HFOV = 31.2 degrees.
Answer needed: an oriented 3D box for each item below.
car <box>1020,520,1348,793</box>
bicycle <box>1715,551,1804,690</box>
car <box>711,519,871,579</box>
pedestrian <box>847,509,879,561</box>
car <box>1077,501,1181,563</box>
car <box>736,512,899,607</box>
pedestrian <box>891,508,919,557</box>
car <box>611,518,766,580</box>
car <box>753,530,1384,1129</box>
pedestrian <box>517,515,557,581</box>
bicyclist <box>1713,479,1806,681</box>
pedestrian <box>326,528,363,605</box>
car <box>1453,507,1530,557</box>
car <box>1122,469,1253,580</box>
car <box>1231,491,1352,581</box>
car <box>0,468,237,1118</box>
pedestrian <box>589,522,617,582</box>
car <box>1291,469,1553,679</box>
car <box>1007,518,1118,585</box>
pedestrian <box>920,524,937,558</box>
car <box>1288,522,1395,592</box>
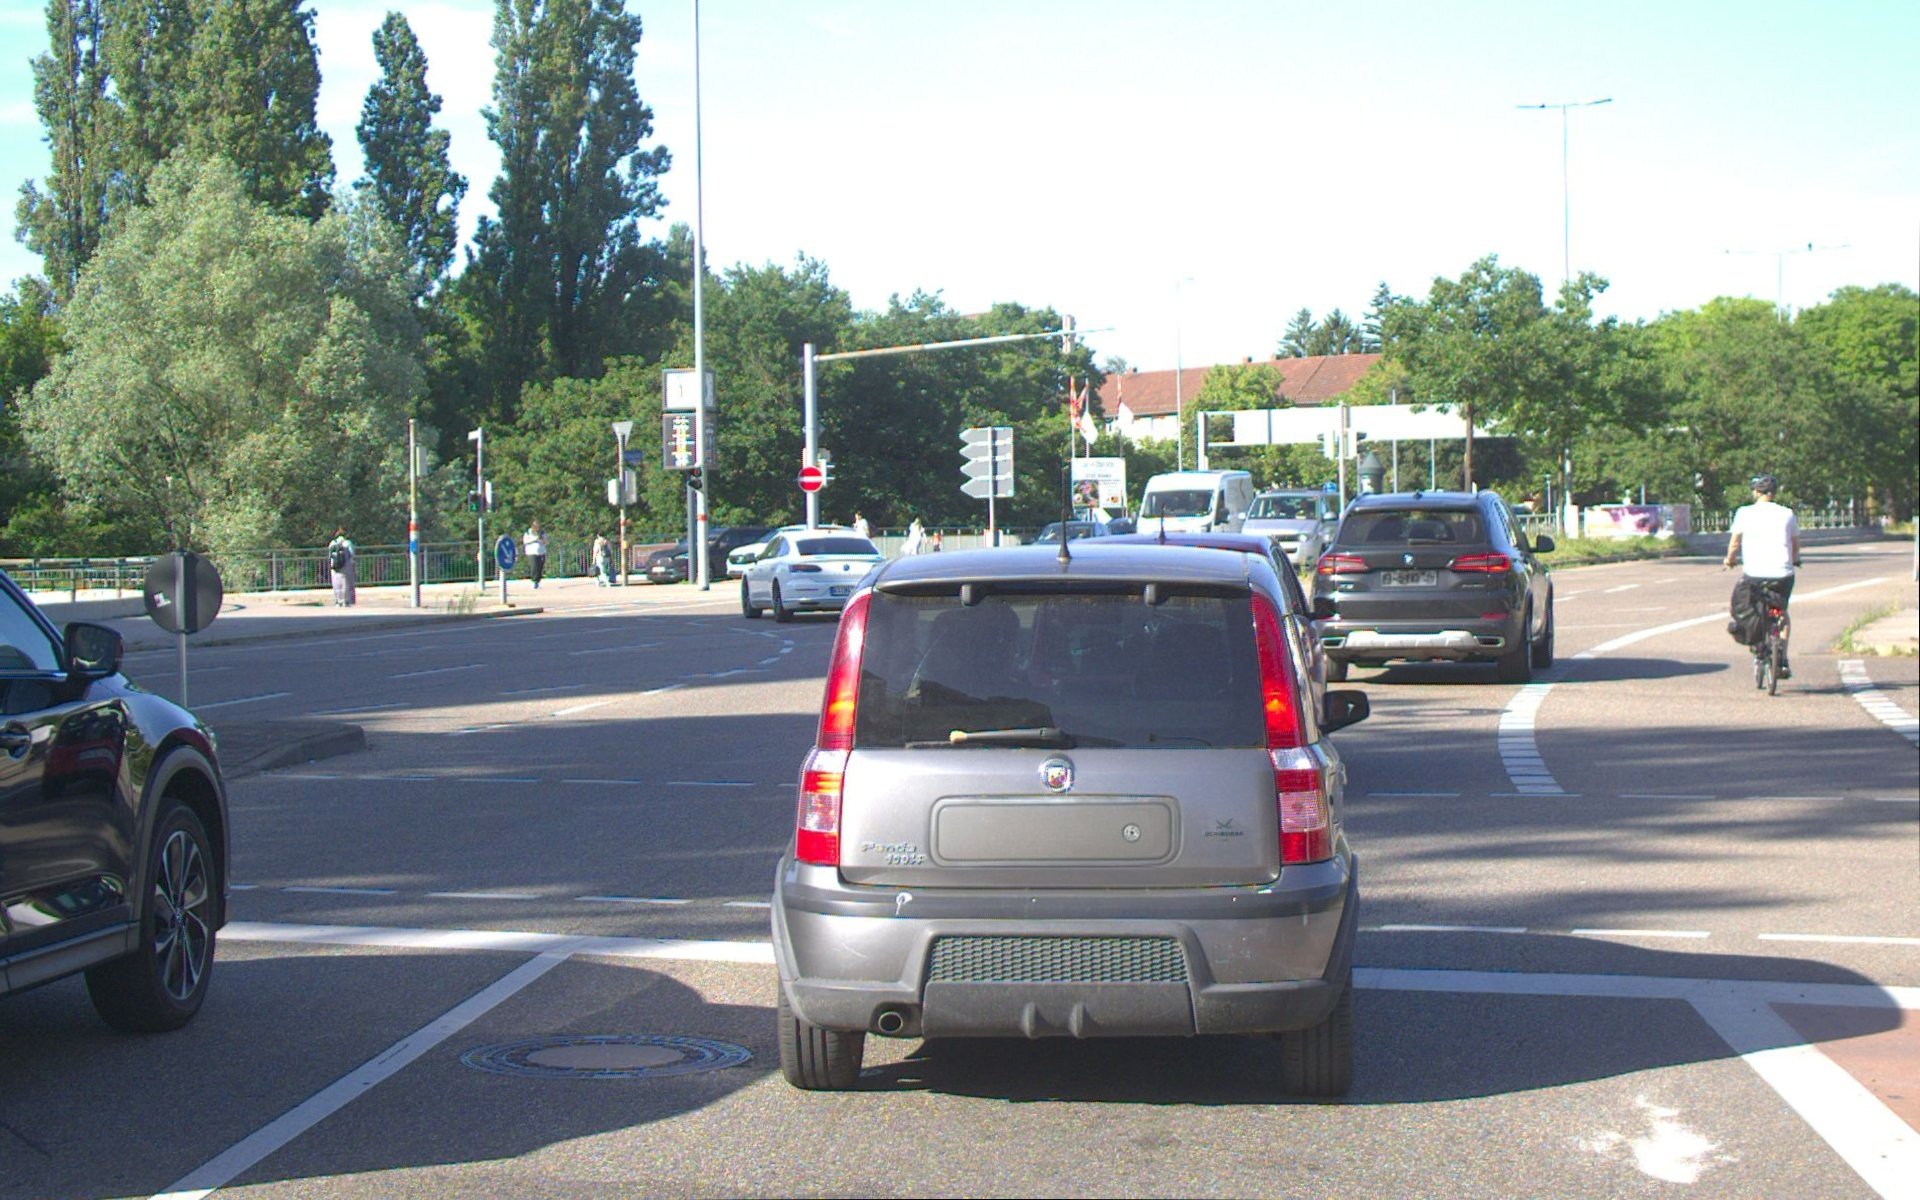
[{"bbox_3d":[1.423,0.261,20.596,1.618,1.458,3.749,1,1,9],"label":"car"},{"bbox_3d":[6.668,0.153,28.723,0.691,1.098,1.825,1,2,13],"label":"bicycle"},{"bbox_3d":[-4.590,-1.420,94.067,1.784,1.530,4.318,2,3,44],"label":"car"},{"bbox_3d":[-3.135,-2.085,111.006,0.790,1.658,0.629,1,0,28],"label":"pedestrian"},{"bbox_3d":[4.510,-1.828,91.212,1.812,1.536,4.614,-2,1,14],"label":"car"},{"bbox_3d":[-2.276,-0.652,53.743,1.780,1.410,4.320,-1,1,-13],"label":"car"},{"bbox_3d":[-1.841,-2.262,115.974,0.721,1.635,0.672,1,0,21],"label":"pedestrian"},{"bbox_3d":[-7.579,-1.408,96.139,3.989,1.620,1.900,1,0,-43],"label":"car"},{"bbox_3d":[0.407,0.552,10.817,1.617,1.510,3.819,1,1,4],"label":"car"},{"bbox_3d":[-10.083,-1.241,81.876,0.709,1.542,0.729,-2,0,-25],"label":"pedestrian"},{"bbox_3d":[6.673,-0.180,28.716,0.724,1.654,1.112,1,1,13],"label":"bicyclist"},{"bbox_3d":[-11.863,-0.645,66.233,0.679,1.458,0.703,-1,1,-11],"label":"pedestrian"},{"bbox_3d":[17.907,-2.292,115.625,1.938,1.616,4.502,0,1,17],"label":"car"},{"bbox_3d":[5.565,-1.844,83.246,1.938,2.567,6.084,0,1,15],"label":"car"},{"bbox_3d":[7.734,-1.510,79.765,1.938,2.001,4.928,0,1,16],"label":"car"},{"bbox_3d":[-3.451,0.514,9.145,1.874,1.703,4.196,-1,1,4],"label":"car"},{"bbox_3d":[-9.371,-1.261,90.147,0.556,1.542,0.576,-2,0,-20],"label":"pedestrian"},{"bbox_3d":[4.414,-0.273,32.322,1.946,1.833,4.150,0,1,14],"label":"car"},{"bbox_3d":[2.540,-1.197,84.238,1.938,1.502,3.998,-2,1,13],"label":"car"},{"bbox_3d":[-1.058,-1.976,115.835,0.423,1.132,0.397,1,0,21],"label":"pedestrian"},{"bbox_3d":[9.459,-1.082,84.987,1.938,1.616,4.503,0,1,16],"label":"car"}]
